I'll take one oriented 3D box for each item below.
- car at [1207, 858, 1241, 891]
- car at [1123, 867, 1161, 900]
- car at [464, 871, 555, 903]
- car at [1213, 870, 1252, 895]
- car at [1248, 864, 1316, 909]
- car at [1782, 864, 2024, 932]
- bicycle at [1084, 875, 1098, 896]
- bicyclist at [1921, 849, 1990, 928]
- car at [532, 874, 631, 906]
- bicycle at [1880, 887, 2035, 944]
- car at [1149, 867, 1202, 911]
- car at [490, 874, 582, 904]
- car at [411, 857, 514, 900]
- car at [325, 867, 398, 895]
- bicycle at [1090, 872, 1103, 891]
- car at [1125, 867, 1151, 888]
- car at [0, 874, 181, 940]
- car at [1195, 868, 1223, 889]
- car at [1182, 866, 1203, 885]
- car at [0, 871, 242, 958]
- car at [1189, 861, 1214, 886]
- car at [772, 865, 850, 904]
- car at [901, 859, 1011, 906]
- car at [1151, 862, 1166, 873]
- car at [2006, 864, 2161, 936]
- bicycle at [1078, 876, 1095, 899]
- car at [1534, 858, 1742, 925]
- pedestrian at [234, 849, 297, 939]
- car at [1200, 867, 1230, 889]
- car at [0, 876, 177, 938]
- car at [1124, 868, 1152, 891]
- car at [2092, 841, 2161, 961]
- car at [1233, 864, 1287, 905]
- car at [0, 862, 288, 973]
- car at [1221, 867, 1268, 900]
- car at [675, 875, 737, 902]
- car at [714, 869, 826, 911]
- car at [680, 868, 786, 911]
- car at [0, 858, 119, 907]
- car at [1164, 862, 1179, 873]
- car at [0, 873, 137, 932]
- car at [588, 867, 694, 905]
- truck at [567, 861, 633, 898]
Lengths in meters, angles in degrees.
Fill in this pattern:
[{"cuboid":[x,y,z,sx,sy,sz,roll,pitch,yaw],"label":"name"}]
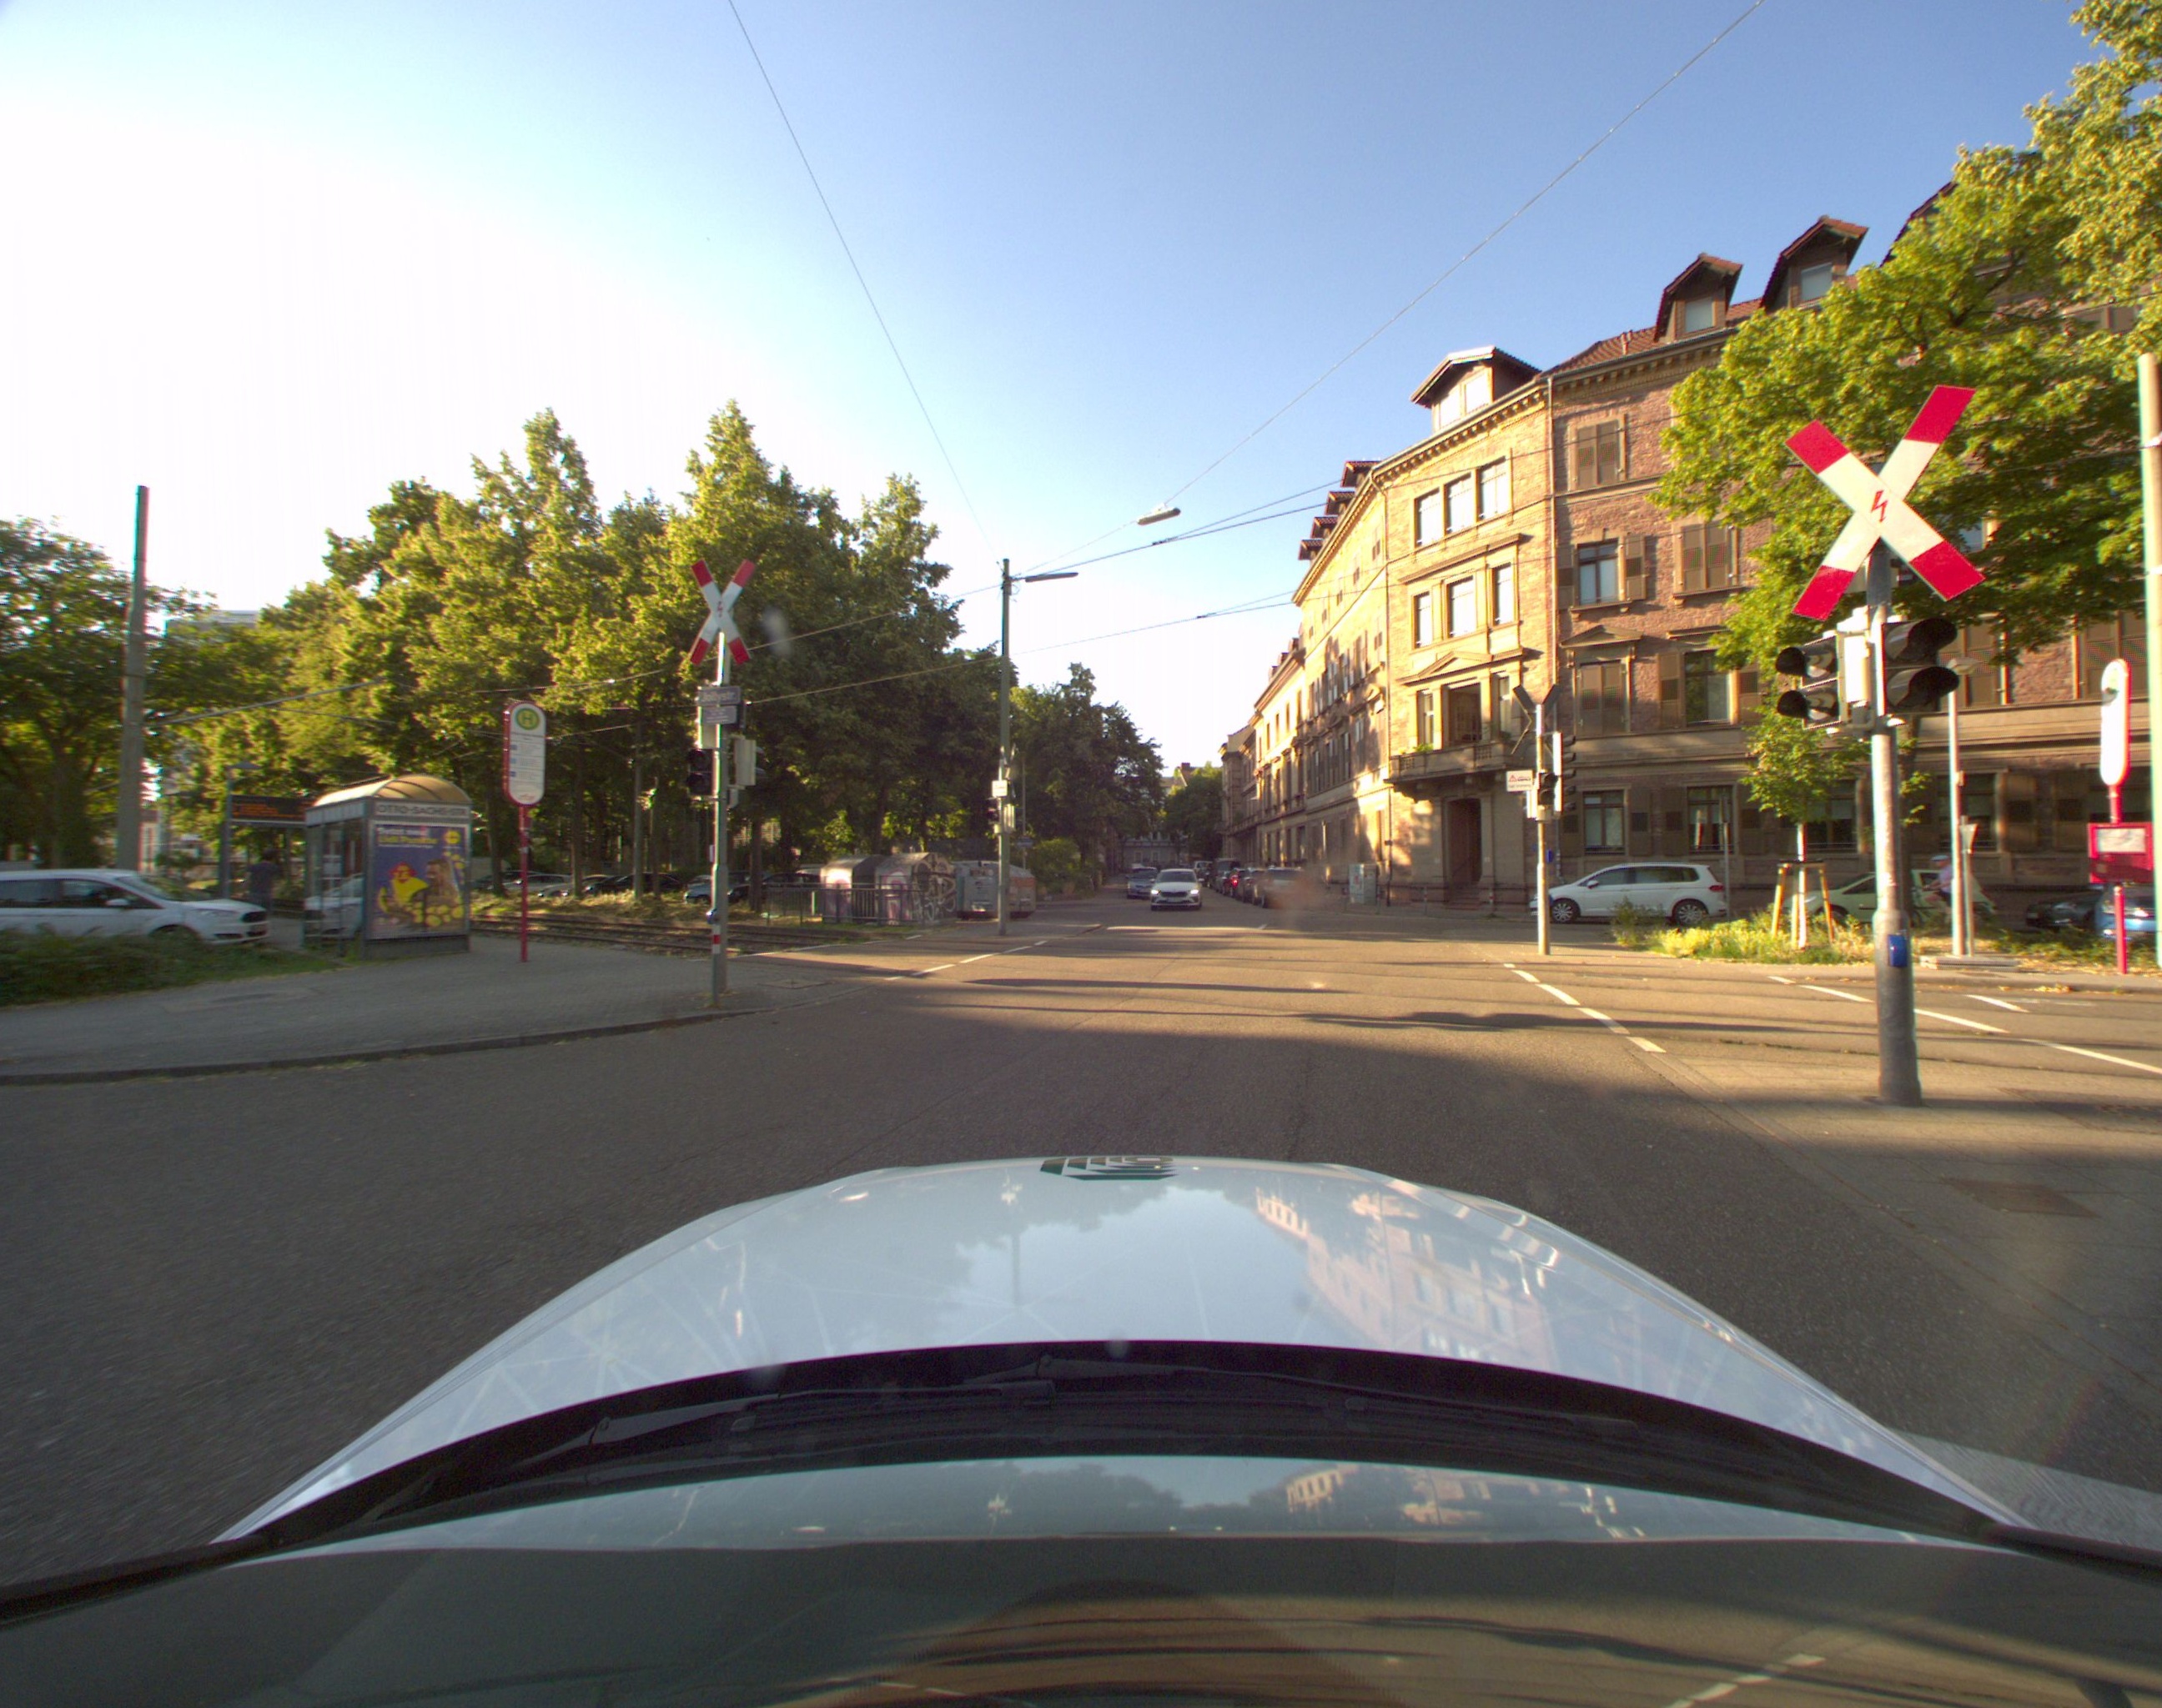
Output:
[{"cuboid":[9.526,1.336,54.436,1.790,2.073,3.959,2,-1,4],"label":"car"},{"cuboid":[3.227,1.516,43.165,1.818,1.615,4.296,3,-1,4],"label":"car"},{"cuboid":[-30.661,1.801,43.837,3.843,1.588,1.719,3,-5,-33],"label":"car"},{"cuboid":[9.002,1.675,48.551,1.790,1.345,3.959,2,-1,4],"label":"car"},{"cuboid":[8.098,1.289,33.115,1.907,1.657,4.190,3,-1,3],"label":"car"},{"cuboid":[19.421,1.039,19.491,3.677,1.490,1.752,-1,-4,28],"label":"car"},{"cuboid":[0.538,1.696,43.943,0.594,1.101,2.630,-1,-1,4],"label":"bicycle"},{"cuboid":[18.203,0.702,16.975,0.863,1.588,0.705,0,-1,36],"label":"bicyclist"},{"cuboid":[-23.674,1.737,38.682,3.843,1.392,1.719,3,-5,-33],"label":"car"},{"cuboid":[18.184,1.254,16.970,2.096,1.054,0.705,0,-1,36],"label":"bicycle"},{"cuboid":[3.524,1.236,29.918,1.692,1.457,4.073,-1,-1,10],"label":"car"},{"cuboid":[-28.164,1.838,42.204,3.843,1.422,1.719,3,-5,-33],"label":"car"},{"cuboid":[-37.660,1.552,49.725,4.503,2.477,1.806,2,-4,-22],"label":"car"},{"cuboid":[-60.657,2.308,68.740,4.094,2.211,1.806,2,-4,-22],"label":"car"},{"cuboid":[0.970,1.702,50.453,0.594,1.101,2.631,-1,-1,6],"label":"bicycle"},{"cuboid":[4.368,1.758,61.949,1.818,1.500,3.935,3,-1,4],"label":"car"},{"cuboid":[-27.506,1.428,21.770,4.253,1.458,1.593,-4,2,-28],"label":"car"},{"cuboid":[10.279,1.950,65.595,1.790,1.623,3.959,2,-1,4],"label":"car"},{"cuboid":[11.248,2.138,82.638,1.790,1.839,3.959,2,-1,4],"label":"car"},{"cuboid":[-20.651,1.235,16.821,4.217,1.436,1.685,-4,2,-28],"label":"car"},{"cuboid":[10.533,1.662,71.316,1.790,2.073,3.959,2,-1,4],"label":"car"},{"cuboid":[-13.584,1.517,40.943,3.851,1.904,1.586,-1,-1,32],"label":"car"},{"cuboid":[-5.589,1.245,36.228,4.600,2.003,1.962,-1,-1,29],"label":"car"},{"cuboid":[12.585,2.181,133.058,1.988,1.684,3.996,1,-3,-2],"label":"car"},{"cuboid":[23.087,0.982,17.329,4.111,1.490,1.752,-1,-4,30],"label":"car"},{"cuboid":[0.297,1.664,41.231,0.594,1.101,2.631,-1,-1,6],"label":"bicycle"},{"cuboid":[14.784,1.018,21.970,4.440,1.650,1.886,-1,-4,30],"label":"car"},{"cuboid":[-17.919,0.867,17.915,0.855,1.911,0.828,0,-1,-37],"label":"pedestrian"},{"cuboid":[9.952,1.749,60.528,1.790,1.524,3.959,2,-1,4],"label":"car"},{"cuboid":[-29.697,1.541,23.631,4.253,1.458,1.593,-4,2,-28],"label":"car"},{"cuboid":[3.897,1.703,55.356,1.818,1.478,3.935,3,-1,4],"label":"car"},{"cuboid":[17.269,0.708,12.548,4.436,1.688,1.723,2,-2,-34],"label":"car"},{"cuboid":[8.318,1.377,38.216,1.818,1.724,4.548,3,-1,4],"label":"car"},{"cuboid":[-17.772,1.123,14.929,4.244,1.652,1.596,-4,2,-22],"label":"car"},{"cuboid":[8.678,1.515,43.546,1.791,1.614,3.956,2,-1,2],"label":"car"},{"cuboid":[-21.449,1.958,46.602,3.554,1.467,1.586,-1,-1,34],"label":"car"},{"cuboid":[-11.497,1.343,30.103,3.628,1.447,1.592,3,-3,-29],"label":"car"},{"cuboid":[-13.626,1.404,31.892,3.628,1.563,1.592,3,-3,-29],"label":"car"},{"cuboid":[-61.935,1.718,48.547,5.277,2.571,2.255,-4,2,-24],"label":"car"},{"cuboid":[14.814,2.209,133.244,1.988,1.684,3.996,1,-3,-2],"label":"car"},{"cuboid":[-34.278,1.615,26.474,4.237,1.651,1.848,-4,2,-17],"label":"car"},{"cuboid":[-19.053,1.420,35.297,3.843,1.497,1.719,3,-5,-33],"label":"car"},{"cuboid":[-32.167,1.692,54.448,4.327,2.352,2.389,-1,-1,38],"label":"truck"}]
